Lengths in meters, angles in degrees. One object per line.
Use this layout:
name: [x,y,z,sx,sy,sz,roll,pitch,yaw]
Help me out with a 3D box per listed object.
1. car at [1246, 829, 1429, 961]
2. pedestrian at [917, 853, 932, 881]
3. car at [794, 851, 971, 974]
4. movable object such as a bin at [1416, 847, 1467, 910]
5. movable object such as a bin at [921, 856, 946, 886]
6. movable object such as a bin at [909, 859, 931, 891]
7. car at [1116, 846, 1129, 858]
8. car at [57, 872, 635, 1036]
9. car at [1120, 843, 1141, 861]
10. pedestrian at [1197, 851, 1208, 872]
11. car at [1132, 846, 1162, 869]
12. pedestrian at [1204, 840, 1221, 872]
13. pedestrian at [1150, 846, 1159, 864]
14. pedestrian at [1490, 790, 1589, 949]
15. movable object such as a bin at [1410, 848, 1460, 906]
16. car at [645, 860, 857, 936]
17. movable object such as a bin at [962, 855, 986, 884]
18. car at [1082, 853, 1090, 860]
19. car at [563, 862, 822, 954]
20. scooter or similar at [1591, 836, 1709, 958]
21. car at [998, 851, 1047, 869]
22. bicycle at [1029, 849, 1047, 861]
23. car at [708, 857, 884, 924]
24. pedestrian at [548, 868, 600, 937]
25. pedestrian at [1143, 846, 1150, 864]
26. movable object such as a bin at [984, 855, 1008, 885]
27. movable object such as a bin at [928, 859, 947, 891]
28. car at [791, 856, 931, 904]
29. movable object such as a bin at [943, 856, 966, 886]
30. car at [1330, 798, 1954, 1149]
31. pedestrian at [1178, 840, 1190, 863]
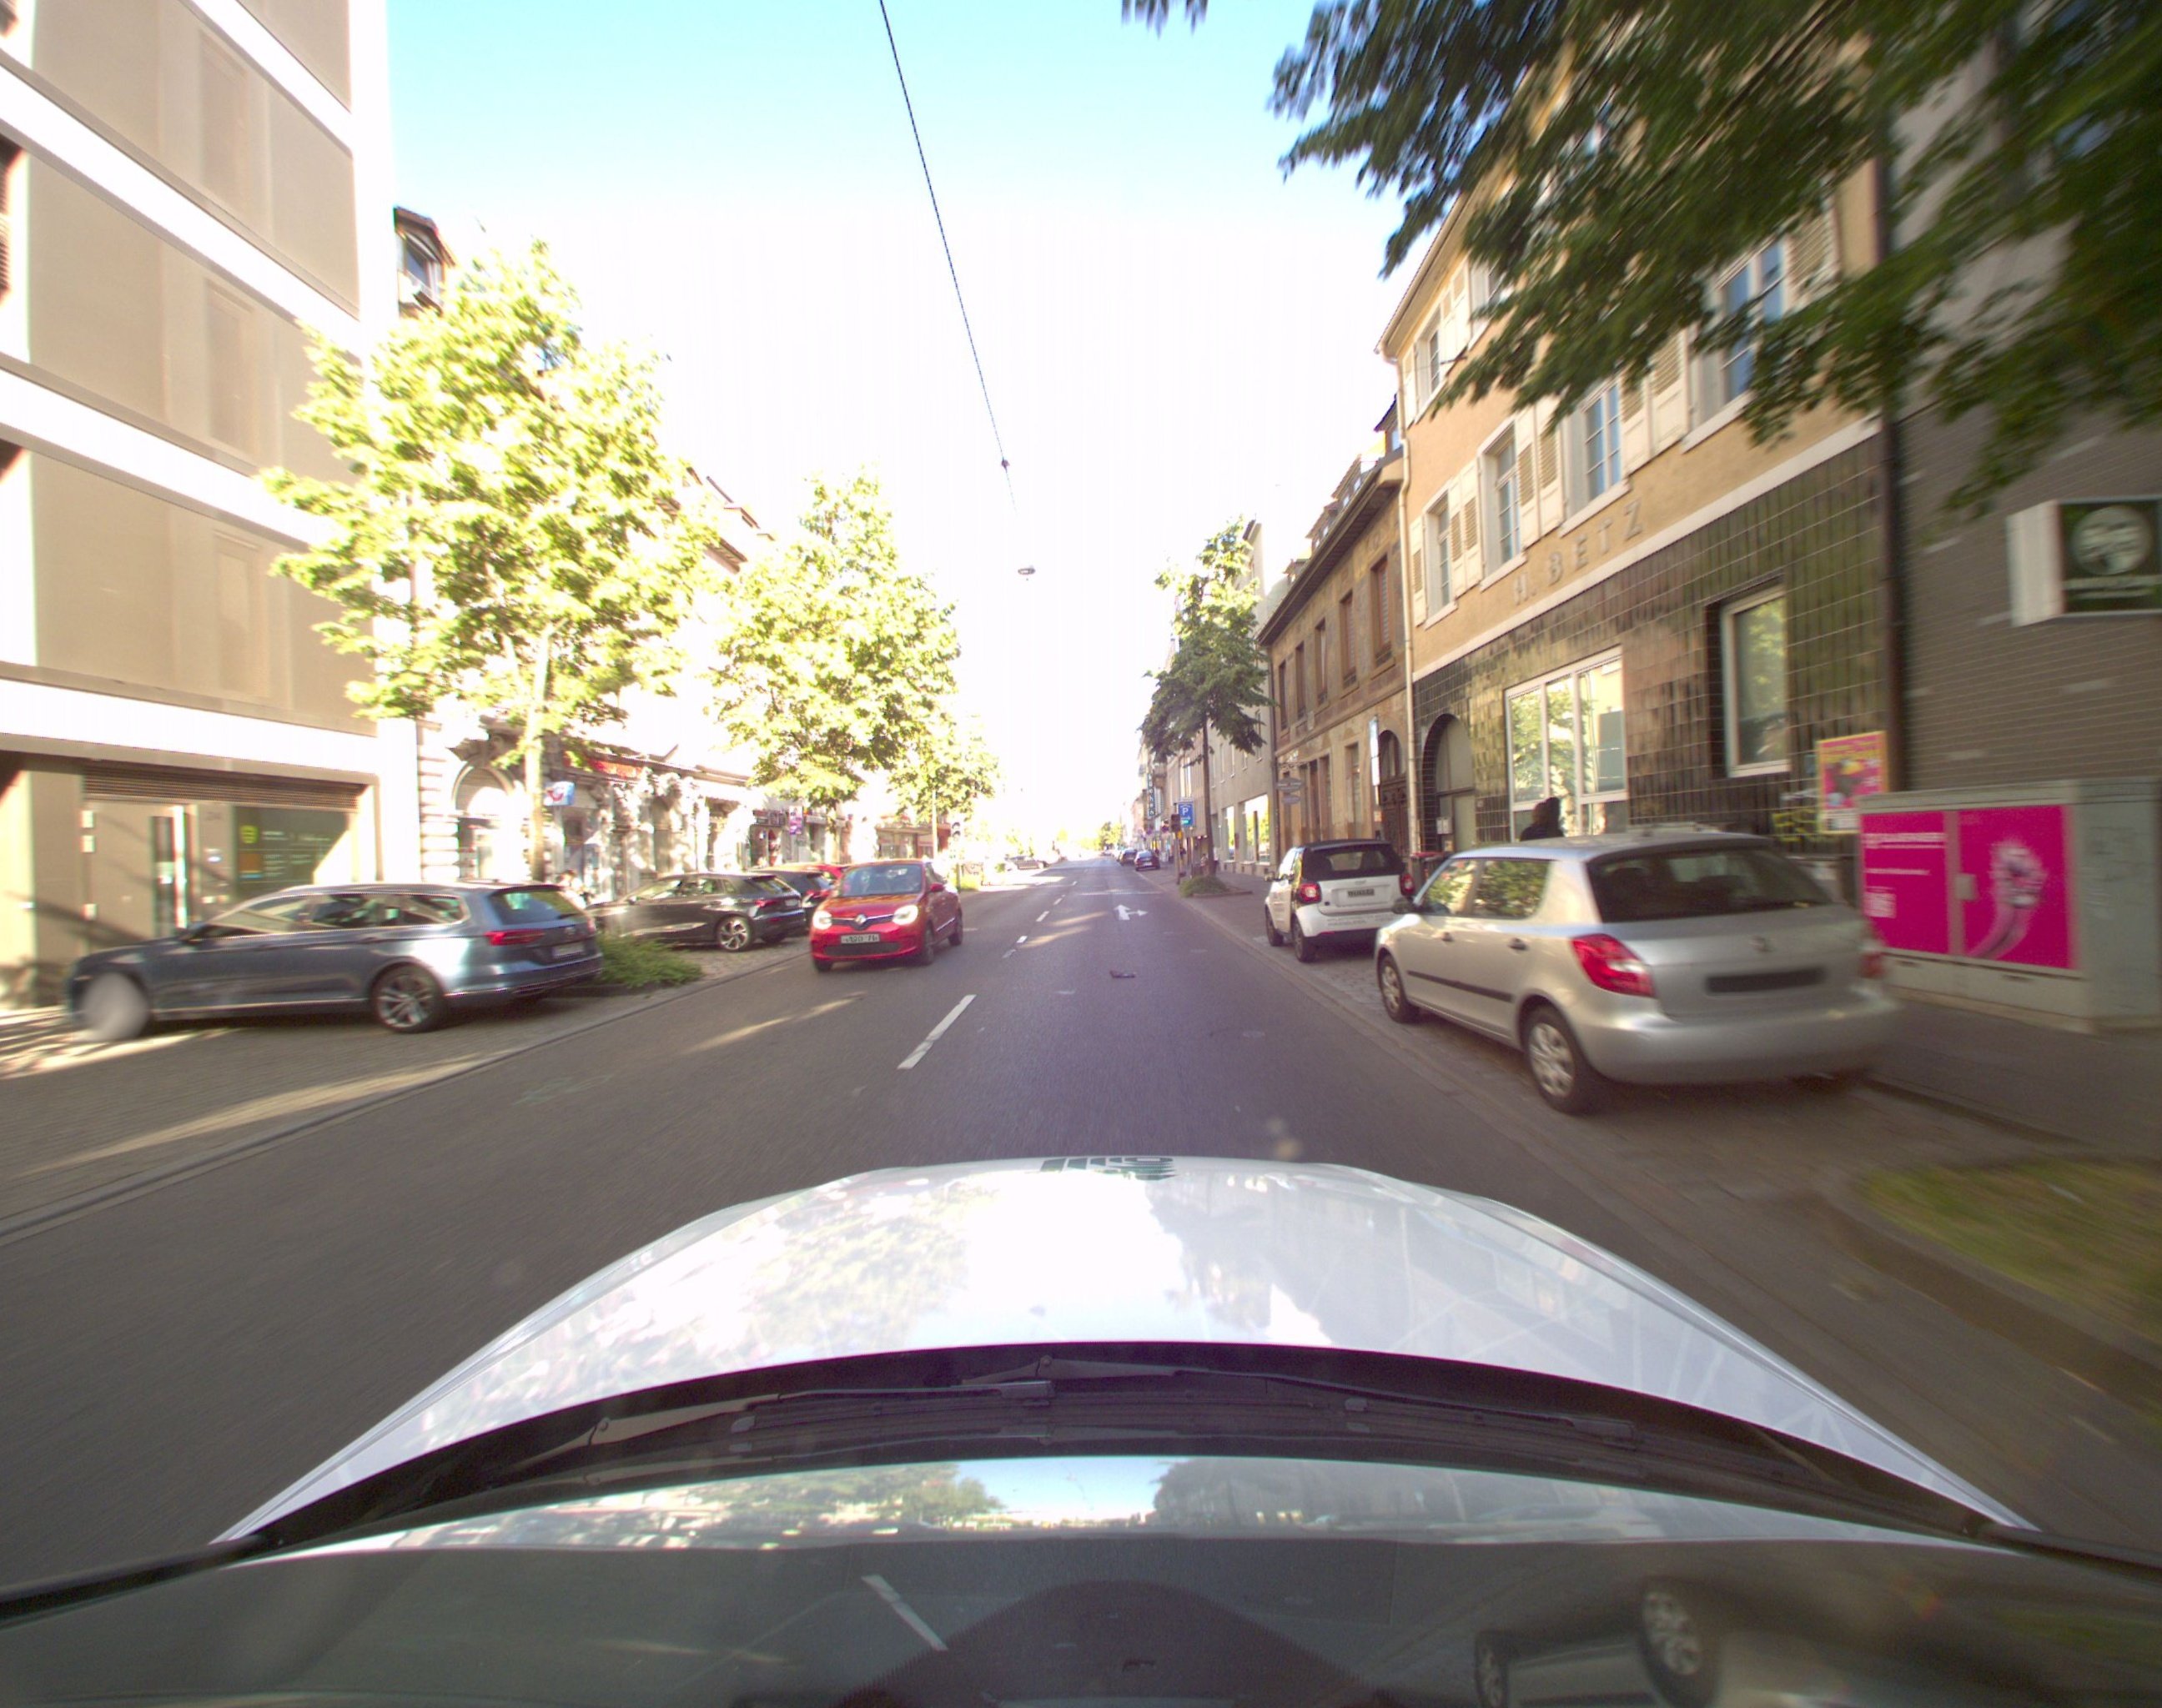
car: [3.514,0.503,11.695,1.608,1.528,3.061,-4,0,1]
pedestrian: [-9.709,0.799,50.641,0.662,1.659,1.037,-2,0,1]
car: [-2.924,0.782,12.808,1.652,1.535,3.762,-4,0,2]
movable object such as a bin: [6.392,0.422,14.465,0.520,1.040,0.722,-5,0,2]
movable object such as a bin: [-7.709,0.892,42.596,1.038,1.471,1.143,-3,0,0]
movable object such as a bin: [-7.101,0.918,36.040,0.752,1.341,0.805,-3,0,0]
car: [5.913,-0.208,117.111,1.711,1.635,4.083,-1,-1,0]
car: [-7.506,0.971,8.680,4.478,1.458,1.790,-1,0,-1]
car: [4.871,-0.228,81.245,1.966,1.725,4.826,-1,1,2]
pedestrian: [6.207,0.373,41.588,0.392,1.033,0.740,-5,0,0]
car: [4.972,0.220,61.738,1.910,1.478,4.967,-6,0,2]
pedestrian: [6.703,0.084,41.509,0.578,1.559,1.021,-5,0,0]
pedestrian: [7.342,0.104,81.344,0.797,1.674,0.590,-4,0,4]
pedestrian: [5.408,0.173,9.648,0.620,1.765,0.771,-5,0,2]
movable object such as a bin: [6.792,0.431,15.656,0.586,1.040,0.722,-5,0,2]
car: [-7.094,0.922,17.758,3.825,1.428,1.791,-2,0,2]
movable object such as a bin: [-5.582,0.805,42.640,1.038,1.471,1.143,-3,0,0]
car: [1.423,0.686,232.979,1.985,1.771,4.003,-1,1,3]
car: [-7.105,0.961,15.160,3.903,1.485,1.772,-2,0,2]
scooter or similar: [6.014,0.425,8.675,0.398,1.187,1.169,-5,0,3]
car: [-5.542,0.557,77.169,4.292,1.487,1.919,-2,0,-39]
bicycle: [-7.750,0.156,146.341,3.101,2.013,0.911,-2,0,10]
car: [-7.048,0.883,20.423,3.735,1.468,1.740,-2,0,1]
pedestrian: [-10.757,1.014,17.303,0.505,1.408,0.826,-1,1,6]
pedestrian: [6.572,0.119,81.411,0.617,1.766,0.519,-2,0,4]
movable object such as a bin: [-4.433,0.830,42.704,1.038,1.471,1.452,-3,0,0]
movable object such as a bin: [-6.324,0.909,35.997,0.632,1.341,0.805,-3,0,0]
car: [-7.431,0.853,27.736,4.185,1.468,1.741,-2,0,3]
movable object such as a bin: [-6.622,0.881,42.591,0.960,1.471,1.143,-2,0,0]
car: [3.327,0.556,6.005,1.608,1.528,4.235,-5,0,1]
pedestrian: [7.602,-0.158,60.007,0.689,1.635,0.889,-5,0,1]
